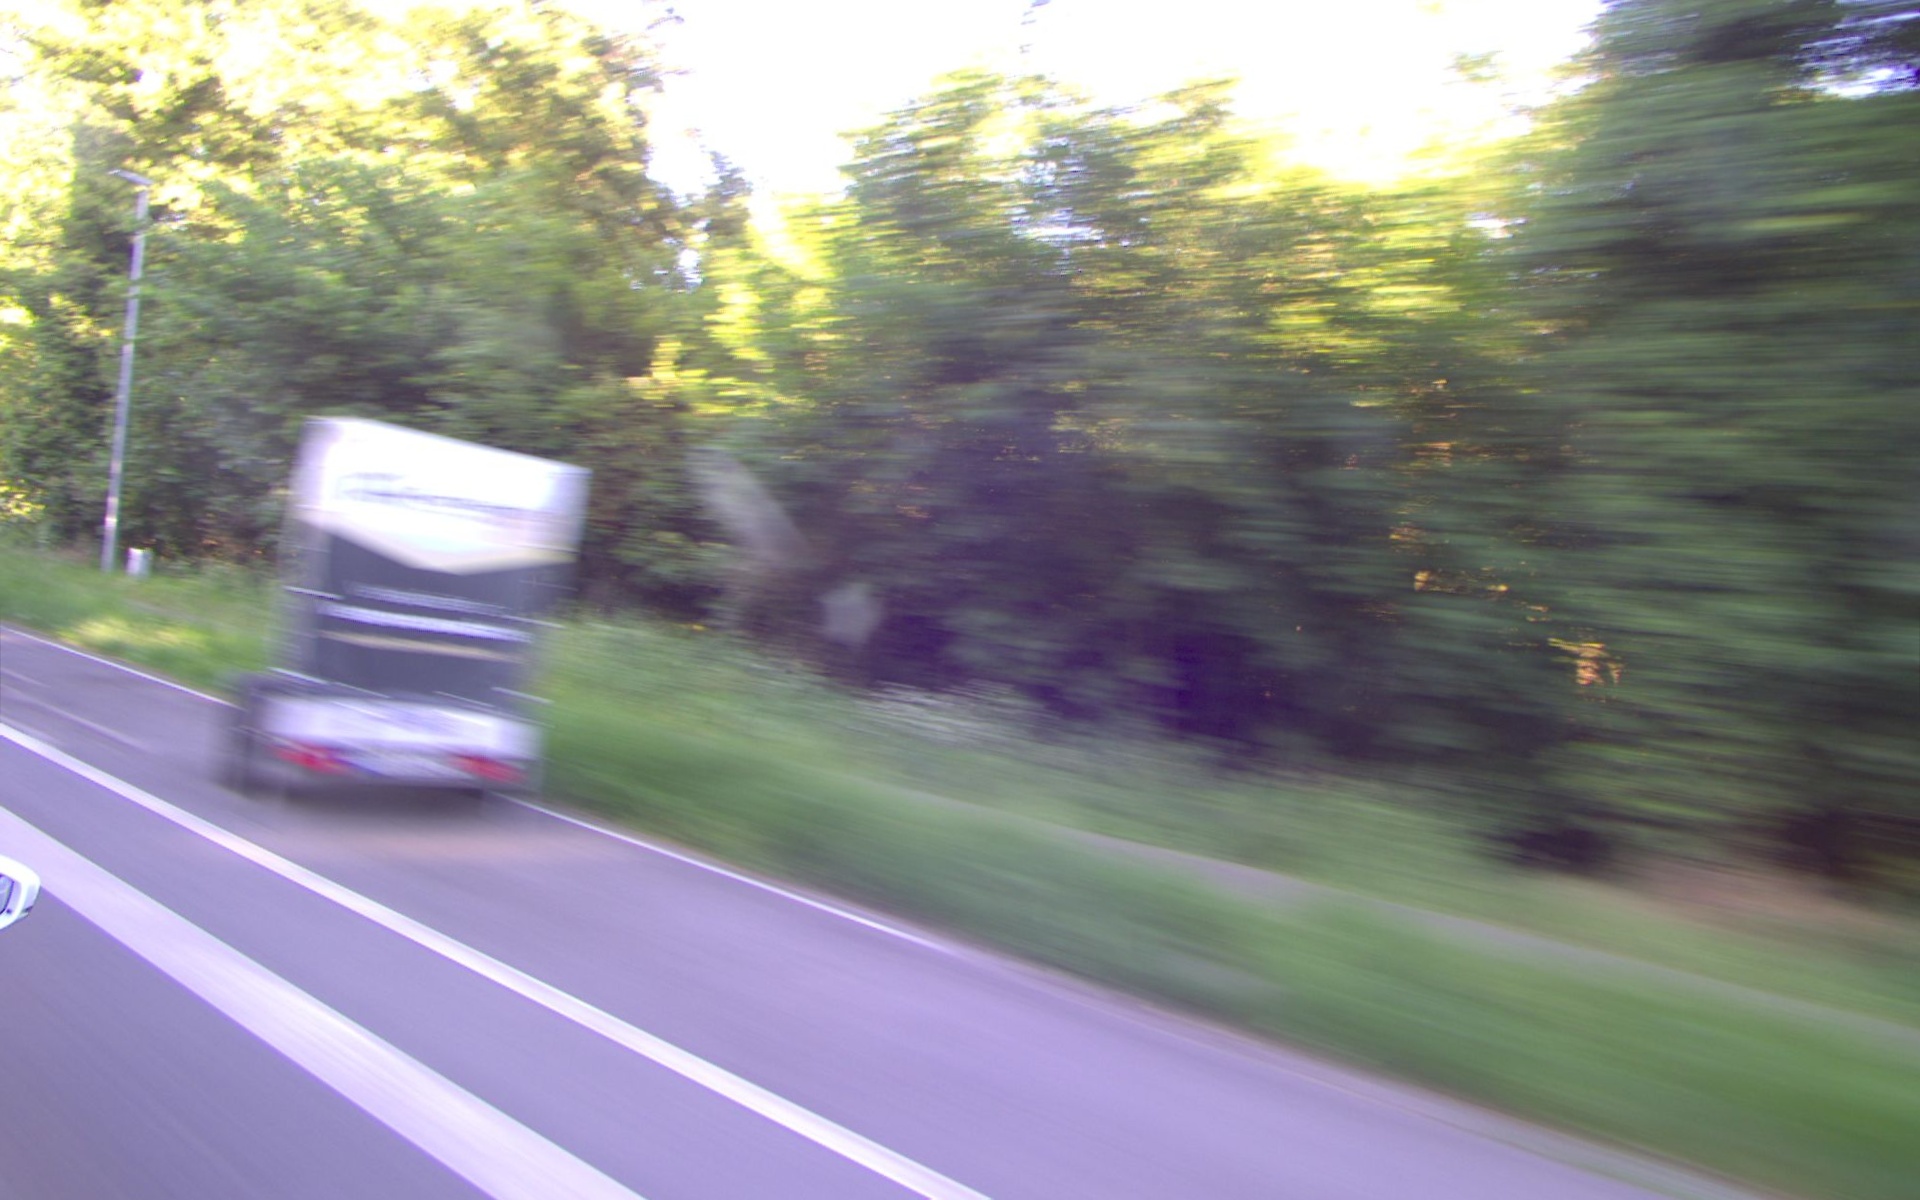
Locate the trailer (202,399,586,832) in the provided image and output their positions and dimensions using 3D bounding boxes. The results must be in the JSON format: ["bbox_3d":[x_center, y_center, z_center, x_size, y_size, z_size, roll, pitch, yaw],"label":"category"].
[{"bbox_3d":[-3.668,0.102,6.367,1.606,2.138,2.371,8,-1,-38],"label":"trailer"}]
